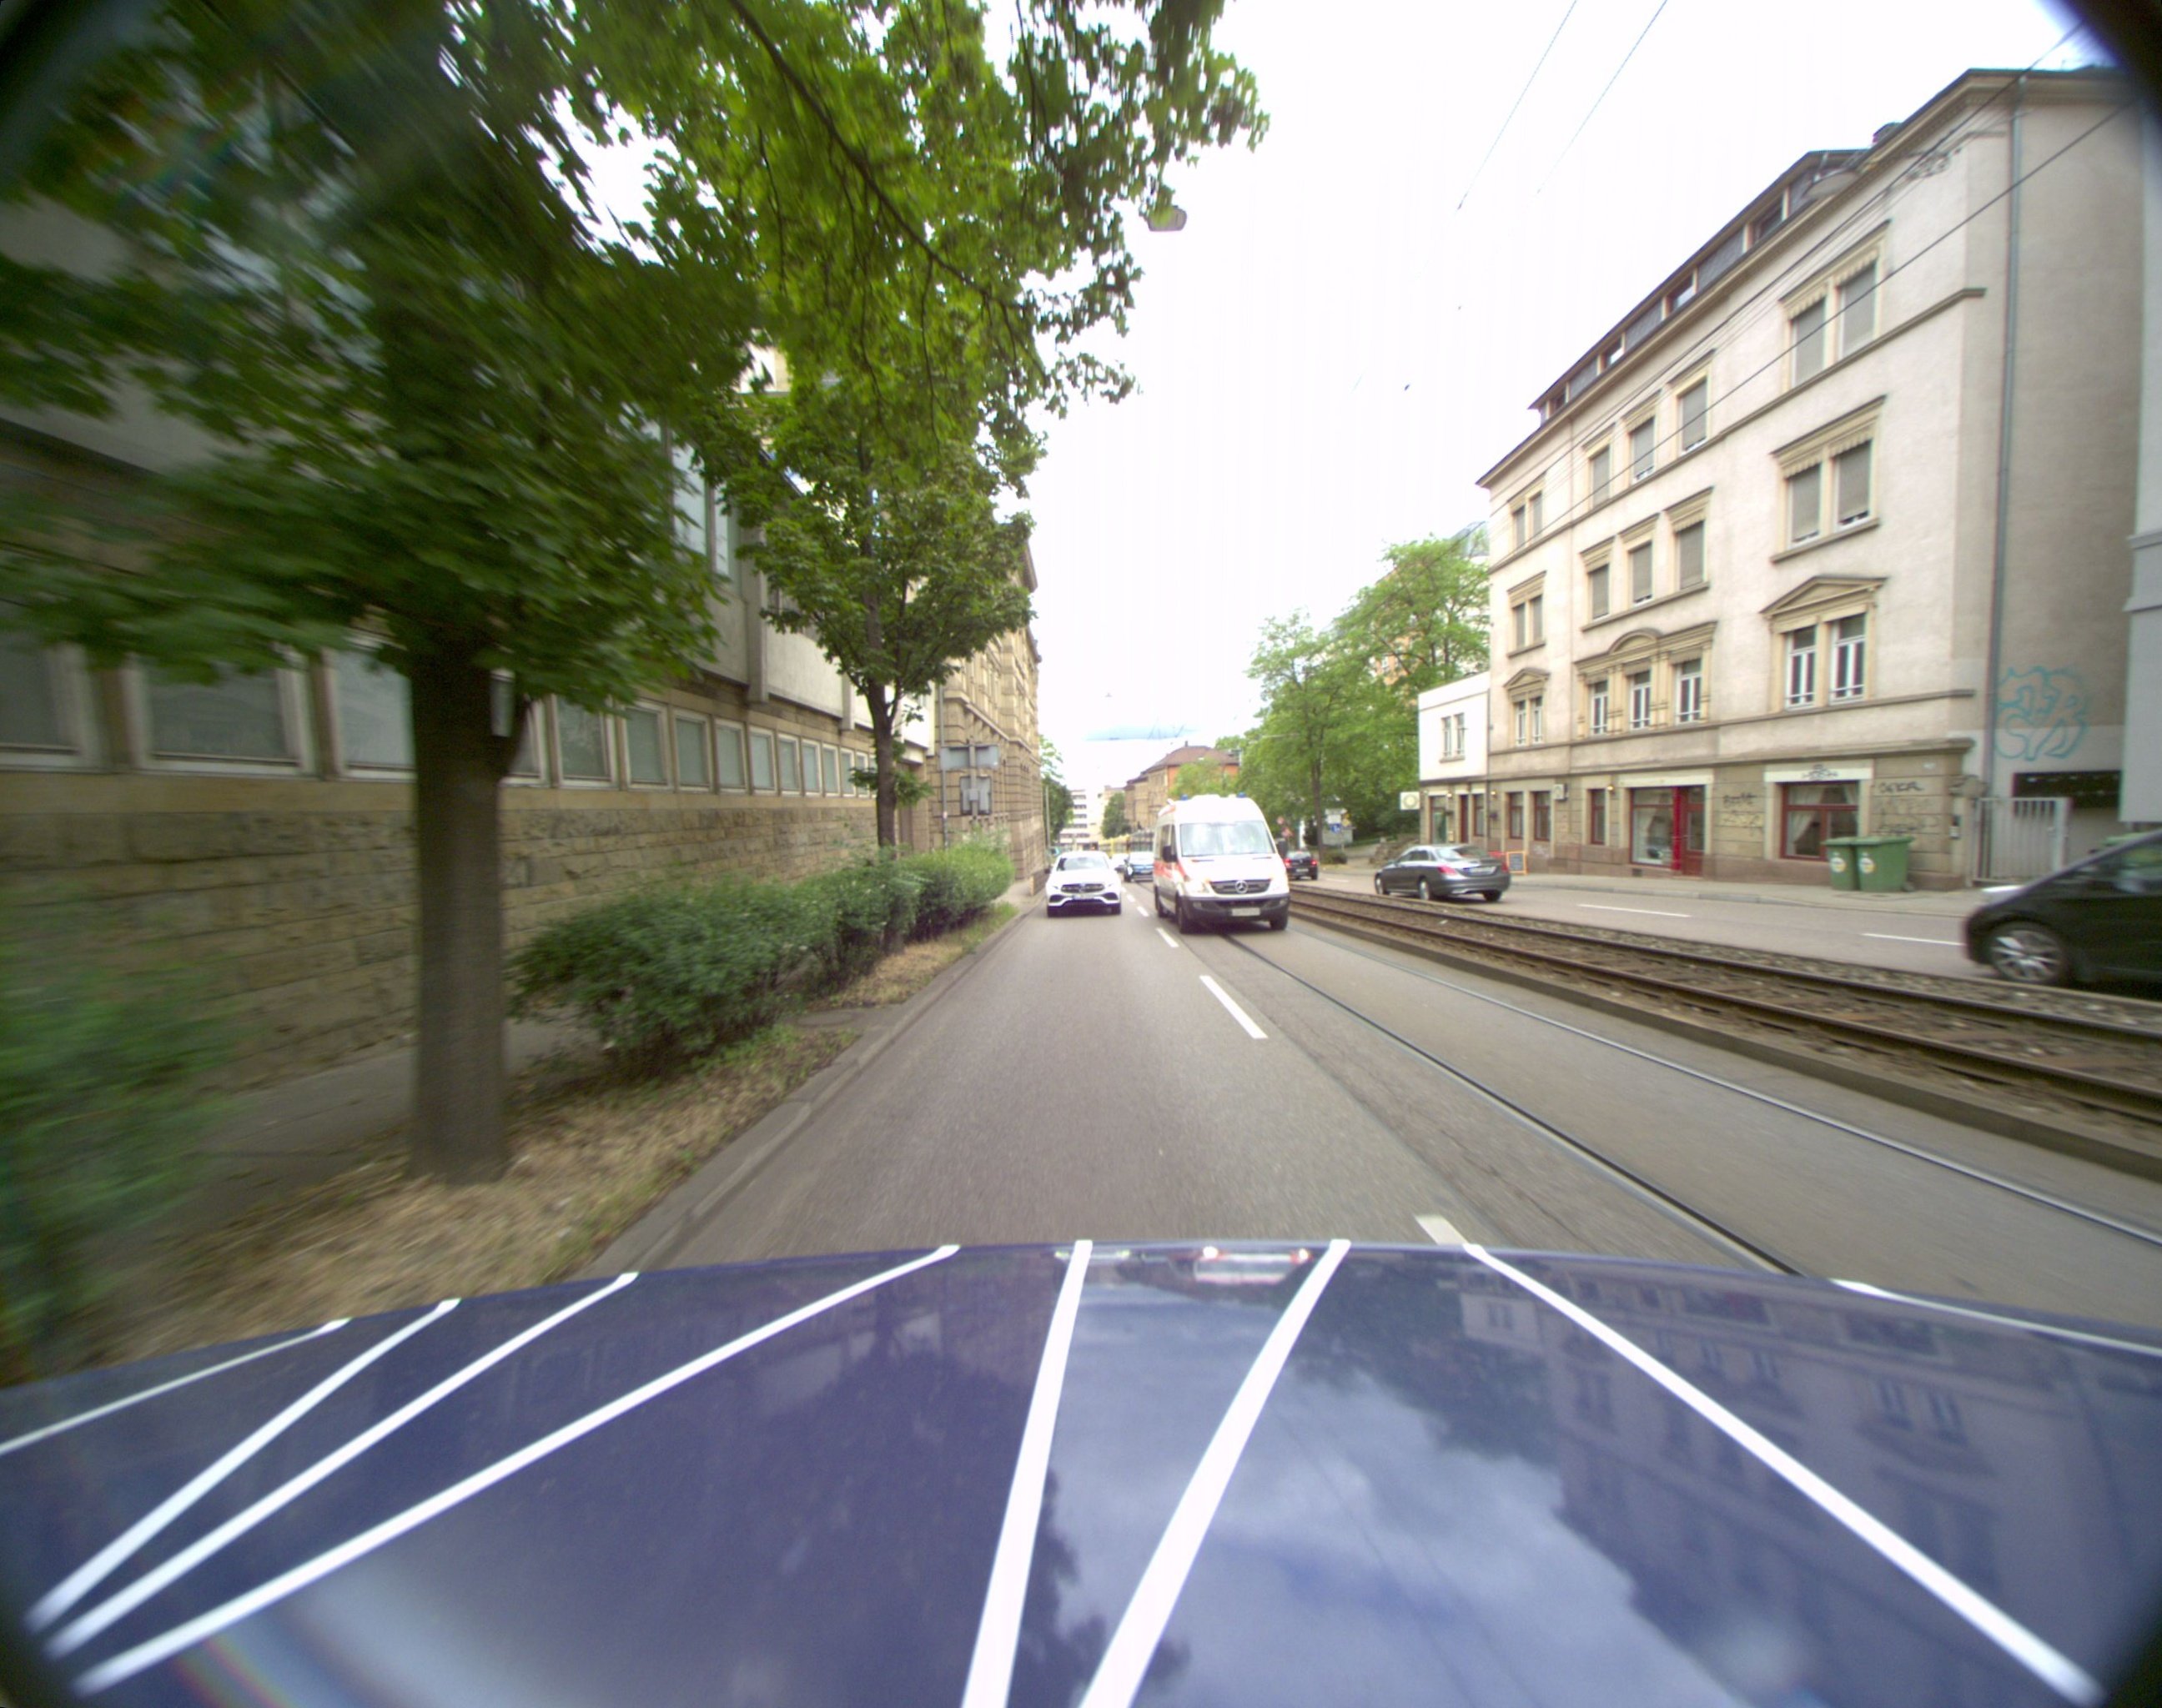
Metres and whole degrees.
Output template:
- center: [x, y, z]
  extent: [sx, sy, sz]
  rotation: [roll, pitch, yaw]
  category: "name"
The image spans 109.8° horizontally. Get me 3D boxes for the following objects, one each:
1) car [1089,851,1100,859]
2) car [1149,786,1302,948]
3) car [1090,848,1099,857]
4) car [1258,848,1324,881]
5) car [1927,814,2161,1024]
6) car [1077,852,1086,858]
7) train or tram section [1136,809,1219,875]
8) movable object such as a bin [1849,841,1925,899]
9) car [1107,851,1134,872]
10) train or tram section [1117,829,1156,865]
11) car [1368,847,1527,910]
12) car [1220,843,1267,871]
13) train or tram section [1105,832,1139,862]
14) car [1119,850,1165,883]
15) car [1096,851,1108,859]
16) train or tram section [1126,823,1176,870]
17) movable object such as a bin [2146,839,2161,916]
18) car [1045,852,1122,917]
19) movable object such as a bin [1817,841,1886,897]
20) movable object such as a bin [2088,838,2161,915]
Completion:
- center: [3.158, 0.205, 173.815]
  extent: [1.999, 1.645, 3.998]
  rotation: [-2, 0, -5]
  category: "car"
- center: [2.727, 0.236, 15.902]
  extent: [2.039, 2.684, 5.854]
  rotation: [-2, 0, 1]
  category: "car"
- center: [3.493, -0.478, 202.147]
  extent: [1.872, 2.250, 4.747]
  rotation: [-3, 1, -4]
  category: "car"
- center: [9.490, 0.425, 34.676]
  extent: [1.835, 1.356, 4.162]
  rotation: [-2, 0, 1]
  category: "car"
- center: [9.052, 0.465, 5.361]
  extent: [1.747, 1.587, 3.969]
  rotation: [-2, 0, 1]
  category: "car"
- center: [0.064, 0.264, 205.340]
  extent: [1.999, 1.575, 3.998]
  rotation: [-1, 0, -4]
  category: "car"
- center: [6.301, -0.717, 53.490]
  extent: [2.884, 3.704, 18.753]
  rotation: [-4, 0, -1]
  category: "train or tram section"
- center: [15.413, 0.302, 14.550]
  extent: [0.719, 1.067, 0.681]
  rotation: [-2, 1, 1]
  category: "movable object such as a bin"
- center: [3.175, 0.567, 61.648]
  extent: [1.998, 1.543, 4.317]
  rotation: [-2, 1, 2]
  category: "car"
- center: [6.364, -0.775, 90.896]
  extent: [2.884, 3.704, 18.700]
  rotation: [-4, 0, -1]
  category: "train or tram section"
- center: [9.192, 0.538, 19.568]
  extent: [1.816, 1.353, 4.764]
  rotation: [-2, 0, 1]
  category: "car"
- center: [10.018, 0.186, 47.116]
  extent: [1.998, 1.586, 4.239]
  rotation: [-2, 0, 1]
  category: "car"
- center: [5.634, -0.912, 107.601]
  extent: [2.890, 3.704, 14.850]
  rotation: [-4, 0, -3]
  category: "train or tram section"
- center: [3.163, 0.633, 40.090]
  extent: [1.931, 1.563, 4.180]
  rotation: [-4, 0, 0]
  category: "car"
- center: [4.439, 0.165, 160.817]
  extent: [1.999, 1.645, 3.998]
  rotation: [-2, 0, -5]
  category: "car"
- center: [6.341, -0.625, 72.257]
  extent: [2.883, 3.704, 18.755]
  rotation: [-4, 0, 0]
  category: "train or tram section"
- center: [15.352, 0.317, 10.371]
  extent: [0.744, 1.067, 0.606]
  rotation: [-2, 1, 1]
  category: "movable object such as a bin"
- center: [0.181, 0.788, 21.786]
  extent: [1.894, 1.610, 4.479]
  rotation: [-2, 0, 3]
  category: "car"
- center: [15.466, 0.296, 15.265]
  extent: [0.688, 1.067, 0.676]
  rotation: [-2, 1, 1]
  category: "movable object such as a bin"
- center: [15.435, 0.311, 11.025]
  extent: [0.730, 1.067, 0.671]
  rotation: [-2, 1, 1]
  category: "movable object such as a bin"
